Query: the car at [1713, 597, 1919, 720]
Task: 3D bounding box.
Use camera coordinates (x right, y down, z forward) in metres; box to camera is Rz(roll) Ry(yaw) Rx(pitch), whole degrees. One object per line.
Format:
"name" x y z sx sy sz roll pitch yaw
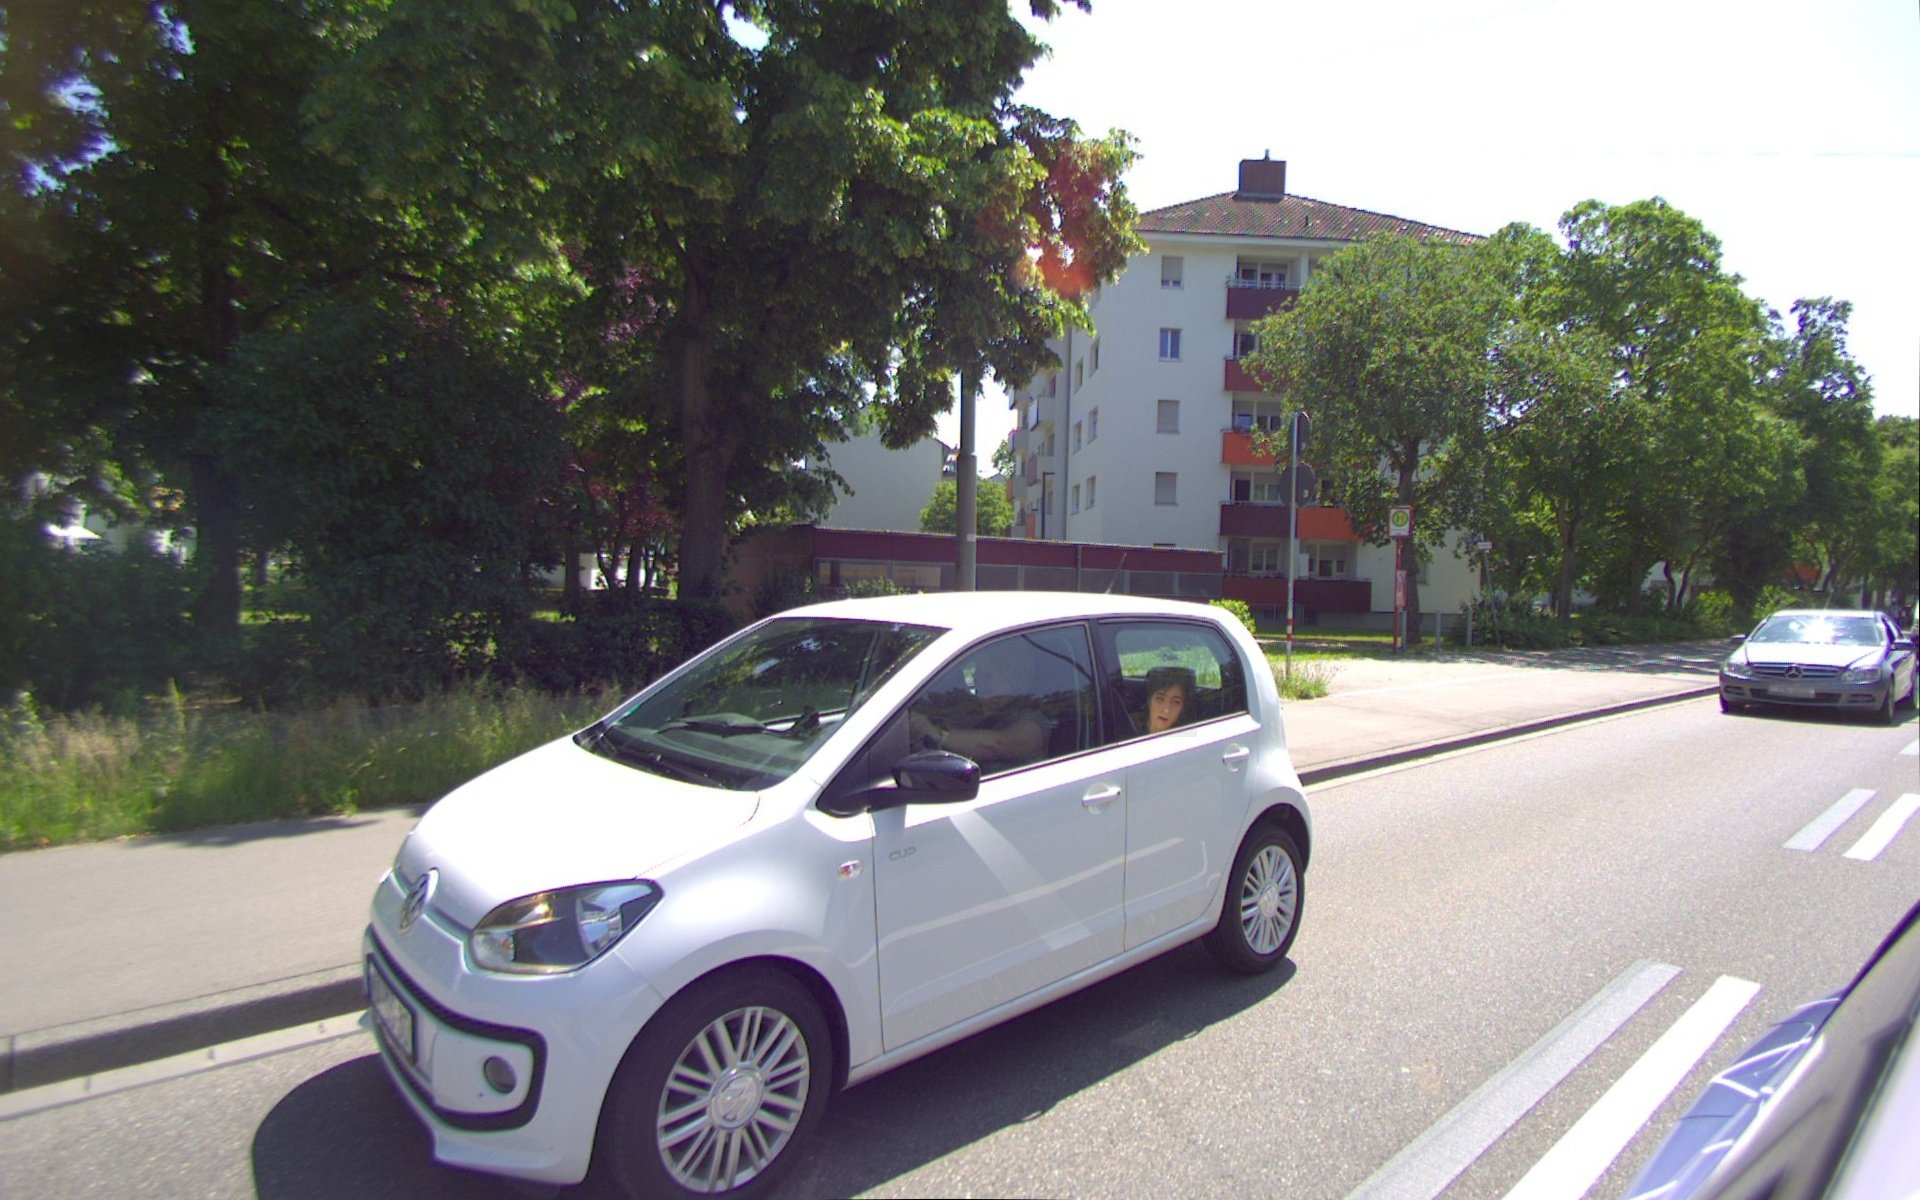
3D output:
"car" 12.206 0.725 14.190 3.902 1.478 1.902 1 0 -41

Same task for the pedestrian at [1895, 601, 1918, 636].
"pedestrian" 46.016 0.872 49.192 0.841 1.664 0.670 0 1 -39

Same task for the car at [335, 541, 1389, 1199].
"car" -0.047 0.610 3.888 3.787 1.467 1.661 0 0 -41

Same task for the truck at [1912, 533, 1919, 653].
"truck" 30.267 -0.172 29.748 8.163 3.319 2.294 0 1 -39

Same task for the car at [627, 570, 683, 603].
"car" -16.791 -0.766 55.851 1.841 1.746 3.925 1 1 1
